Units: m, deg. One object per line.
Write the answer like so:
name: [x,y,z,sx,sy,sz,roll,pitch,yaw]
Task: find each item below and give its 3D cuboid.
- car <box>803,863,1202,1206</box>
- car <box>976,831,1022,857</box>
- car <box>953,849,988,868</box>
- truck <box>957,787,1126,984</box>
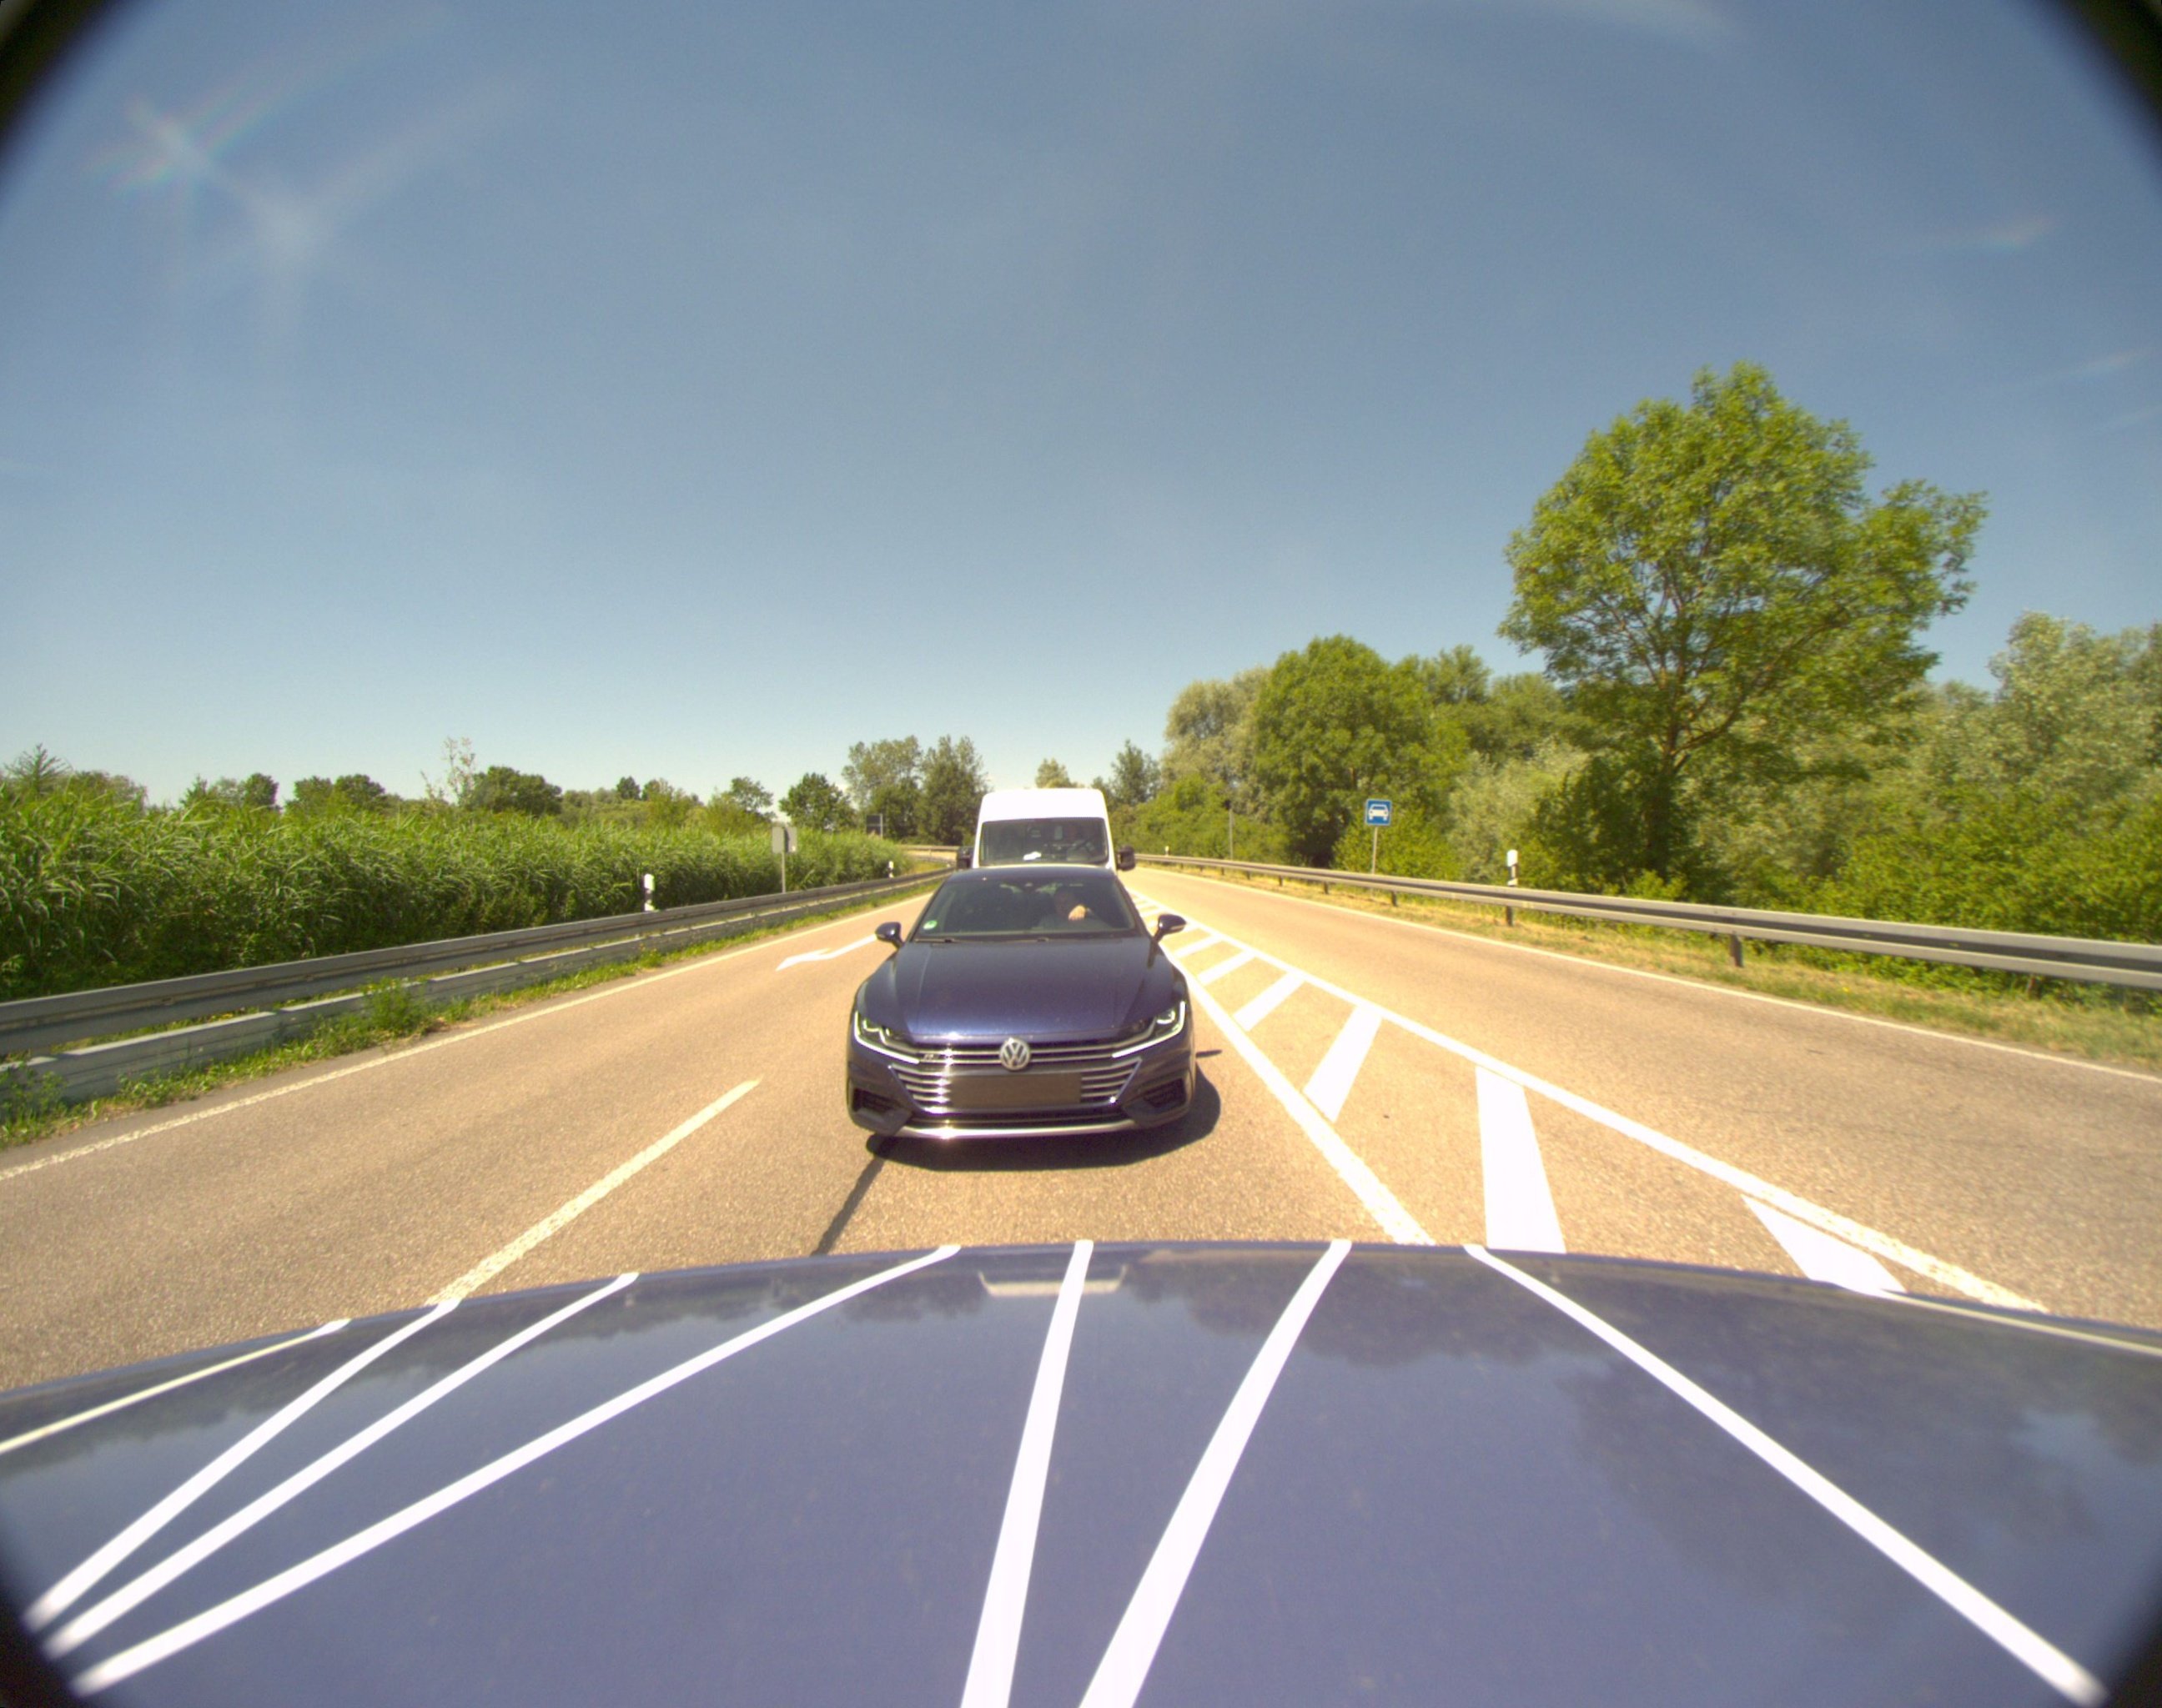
car: [-0.336,0.874,5.744,1.819,1.454,4.415,-2,1,1]
car: [-8.185,-0.975,75.130,2.004,2.402,5.574,-1,1,-35]
car: [-9.709,0.398,66.674,1.676,1.591,3.544,-2,1,-32]
truck: [-0.657,0.353,12.279,2.011,2.365,5.909,-2,1,-4]
